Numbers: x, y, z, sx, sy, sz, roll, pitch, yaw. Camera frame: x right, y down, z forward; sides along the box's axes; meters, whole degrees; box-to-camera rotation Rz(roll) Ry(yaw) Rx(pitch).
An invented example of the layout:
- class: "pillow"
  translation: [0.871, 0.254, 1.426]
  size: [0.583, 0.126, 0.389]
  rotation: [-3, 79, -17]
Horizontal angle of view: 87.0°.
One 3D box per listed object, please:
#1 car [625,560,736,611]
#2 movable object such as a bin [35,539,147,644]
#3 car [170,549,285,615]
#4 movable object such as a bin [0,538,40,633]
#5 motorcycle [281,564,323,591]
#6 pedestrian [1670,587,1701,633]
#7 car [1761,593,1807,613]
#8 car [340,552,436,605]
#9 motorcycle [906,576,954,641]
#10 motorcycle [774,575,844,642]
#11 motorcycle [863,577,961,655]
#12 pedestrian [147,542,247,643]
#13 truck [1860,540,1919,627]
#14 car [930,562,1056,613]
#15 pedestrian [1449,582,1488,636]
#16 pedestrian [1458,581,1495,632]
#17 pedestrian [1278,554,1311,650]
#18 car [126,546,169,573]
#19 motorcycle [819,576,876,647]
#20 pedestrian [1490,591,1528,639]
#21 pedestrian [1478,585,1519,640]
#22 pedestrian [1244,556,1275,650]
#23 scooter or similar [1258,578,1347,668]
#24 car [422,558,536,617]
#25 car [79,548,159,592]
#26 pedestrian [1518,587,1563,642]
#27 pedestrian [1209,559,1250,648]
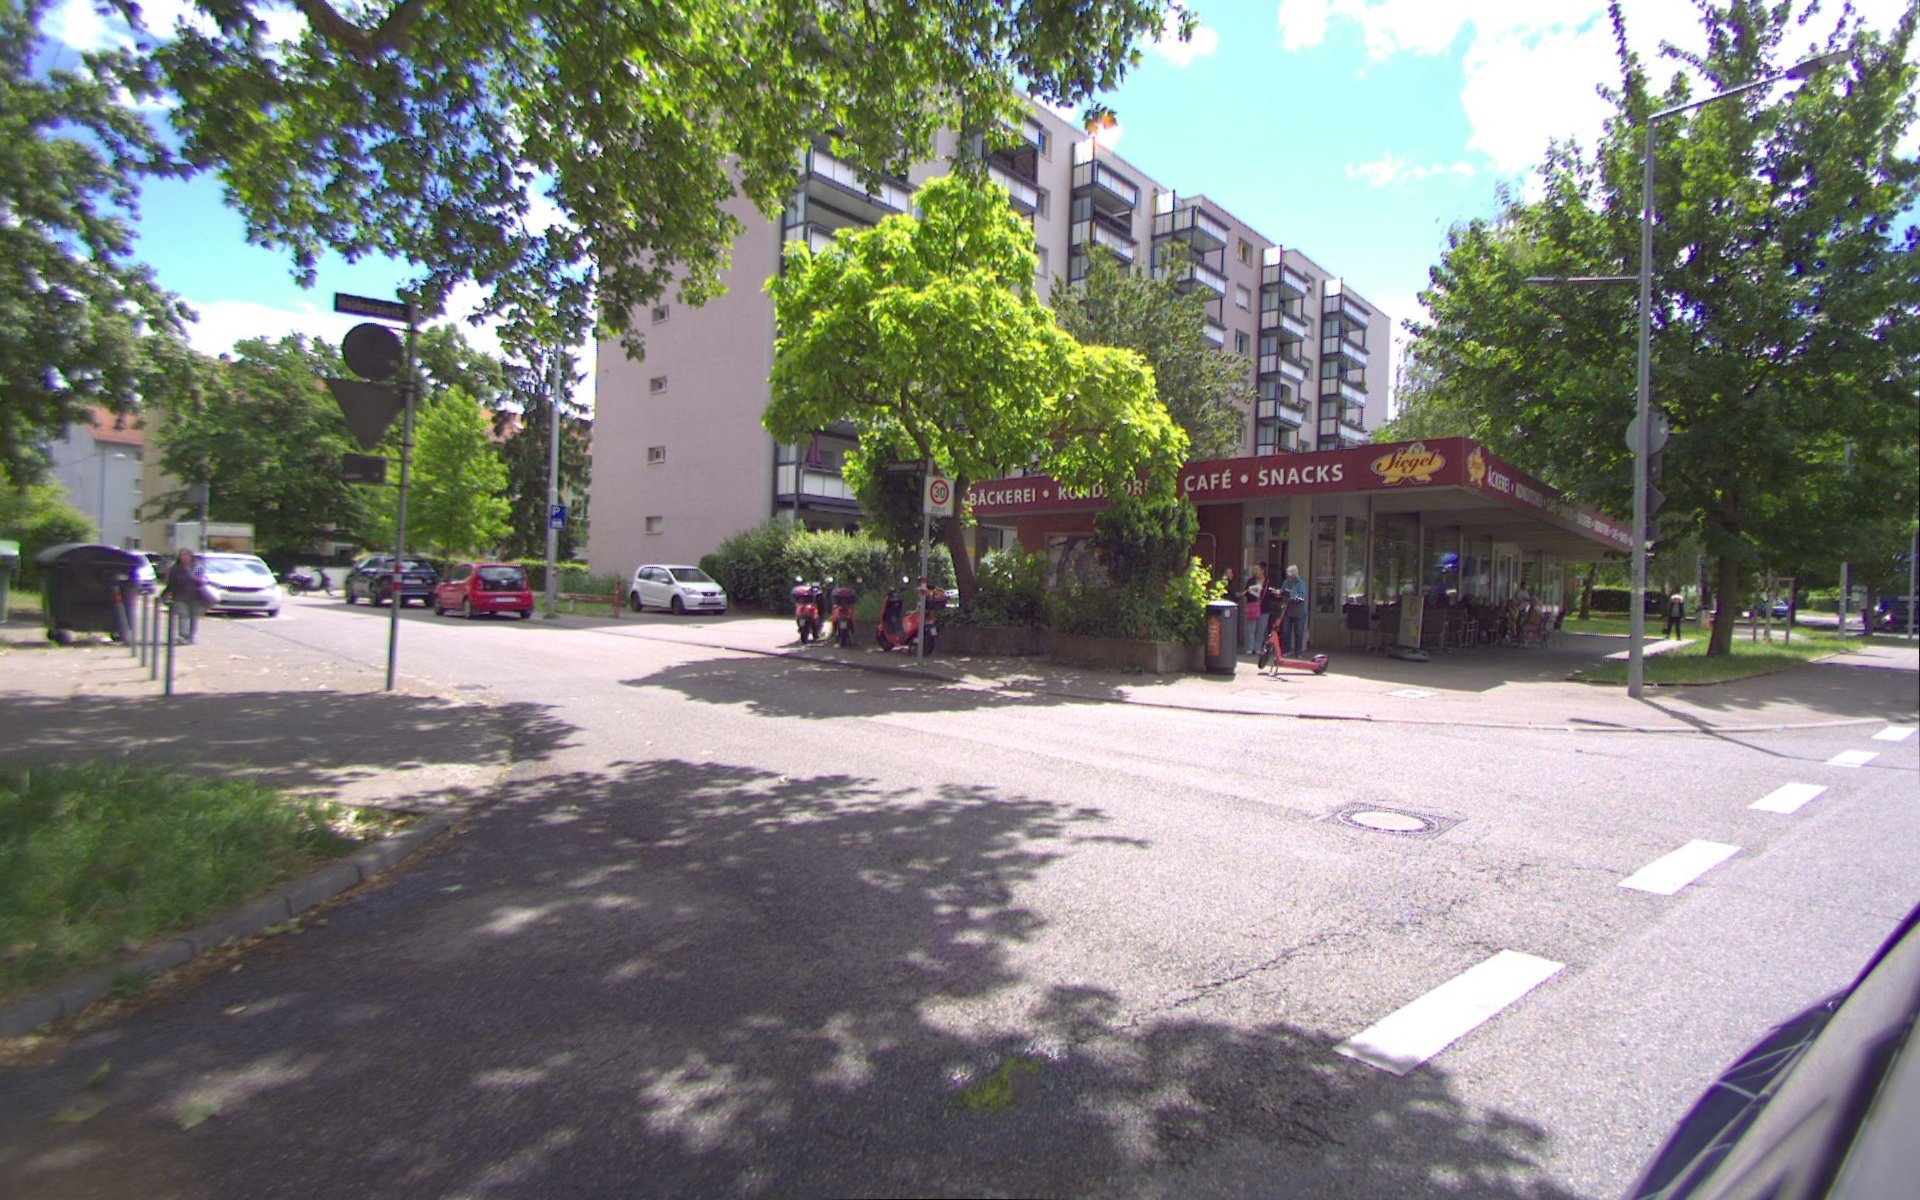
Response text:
- class: "car"
  translation: [-8.618, -0.456, 31.079]
  size: [3.478, 1.456, 1.722]
  rotation: [2, 1, 44]
- class: "movable object such as a bin"
  translation: [-12.681, -0.129, 14.768]
  size: [1.125, 1.430, 1.183]
  rotation: [3, 0, -44]
- class: "car"
  translation: [-18.021, -0.474, 24.862]
  size: [3.456, 1.505, 1.631]
  rotation: [3, 2, 42]
- class: "movable object such as a bin"
  translation: [-14.998, -0.251, 15.600]
  size: [1.125, 1.430, 1.183]
  rotation: [3, 0, -44]
- class: "motorcycle"
  translation: [-25.858, -0.892, 39.782]
  size: [1.326, 1.029, 0.526]
  rotation: [0, 1, -42]
- class: "pedestrian"
  translation: [25.017, 0.332, 34.891]
  size: [0.643, 1.557, 0.725]
  rotation: [0, 1, -44]
- class: "car"
  translation: [59.292, 0.197, 72.882]
  size: [1.793, 1.371, 3.959]
  rotation: [2, 2, 29]
- class: "car"
  translation: [-18.250, -0.711, 32.245]
  size: [3.833, 1.571, 1.615]
  rotation: [3, 2, 43]
- class: "motorcycle"
  translation: [-0.577, 0.135, 20.281]
  size: [0.726, 1.210, 2.137]
  rotation: [1, 1, 4]
- class: "motorcycle"
  translation: [-2.933, 0.126, 19.909]
  size: [0.728, 1.210, 2.133]
  rotation: [2, 2, 10]
- class: "motorcycle"
  translation: [-0.855, 0.238, 17.205]
  size: [0.725, 1.210, 2.141]
  rotation: [1, 2, -30]
- class: "pedestrian"
  translation: [-12.080, -0.117, 16.030]
  size: [1.083, 1.494, 0.808]
  rotation: [5, -2, -45]
- class: "truck"
  translation: [48.256, -0.806, 51.428]
  size: [2.615, 4.144, 9.486]
  rotation: [2, 2, 35]
- class: "car"
  translation: [0.979, -0.356, 28.841]
  size: [1.743, 1.359, 3.435]
  rotation: [2, 1, 43]
- class: "pedestrian"
  translation: [12.773, 0.214, 25.424]
  size: [0.675, 1.282, 0.664]
  rotation: [5, 4, 42]
- class: "pedestrian"
  translation: [13.507, 0.160, 26.458]
  size: [0.671, 1.282, 0.668]
  rotation: [5, 4, 40]
- class: "pedestrian"
  translation: [5.880, 0.025, 17.800]
  size: [0.436, 1.652, 0.399]
  rotation: [1, 1, 9]
- class: "car"
  translation: [-48.462, -2.393, 60.329]
  size: [3.330, 1.450, 1.540]
  rotation: [0, 0, 43]
- class: "motorcycle"
  translation: [-2.076, 0.169, 18.901]
  size: [0.726, 1.210, 2.138]
  rotation: [1, 2, 2]
- class: "pedestrian"
  translation: [14.088, 0.373, 25.960]
  size: [0.671, 1.165, 0.668]
  rotation: [5, 4, 40]
- class: "pedestrian"
  translation: [13.241, 0.297, 24.866]
  size: [0.671, 1.282, 0.814]
  rotation: [5, 4, 40]
- class: "pedestrian"
  translation: [5.316, 0.049, 17.969]
  size: [0.436, 1.652, 0.399]
  rotation: [1, 1, 9]
- class: "scooter or similar"
  translation: [5.187, 0.349, 15.344]
  size: [1.206, 1.324, 0.378]
  rotation: [1, 1, -8]
- class: "car"
  translation: [-12.913, -0.356, 27.106]
  size: [3.478, 1.456, 1.613]
  rotation: [2, 1, 44]
- class: "car"
  translation: [-29.488, -1.058, 35.463]
  size: [3.502, 1.459, 1.704]
  rotation: [3, 2, 43]
- class: "pedestrian"
  translation: [14.222, 0.349, 24.785]
  size: [0.661, 1.282, 0.678]
  rotation: [0, 3, -36]
- class: "pedestrian"
  translation: [4.832, 0.060, 18.175]
  size: [0.522, 1.571, 0.512]
  rotation: [1, 1, -9]
